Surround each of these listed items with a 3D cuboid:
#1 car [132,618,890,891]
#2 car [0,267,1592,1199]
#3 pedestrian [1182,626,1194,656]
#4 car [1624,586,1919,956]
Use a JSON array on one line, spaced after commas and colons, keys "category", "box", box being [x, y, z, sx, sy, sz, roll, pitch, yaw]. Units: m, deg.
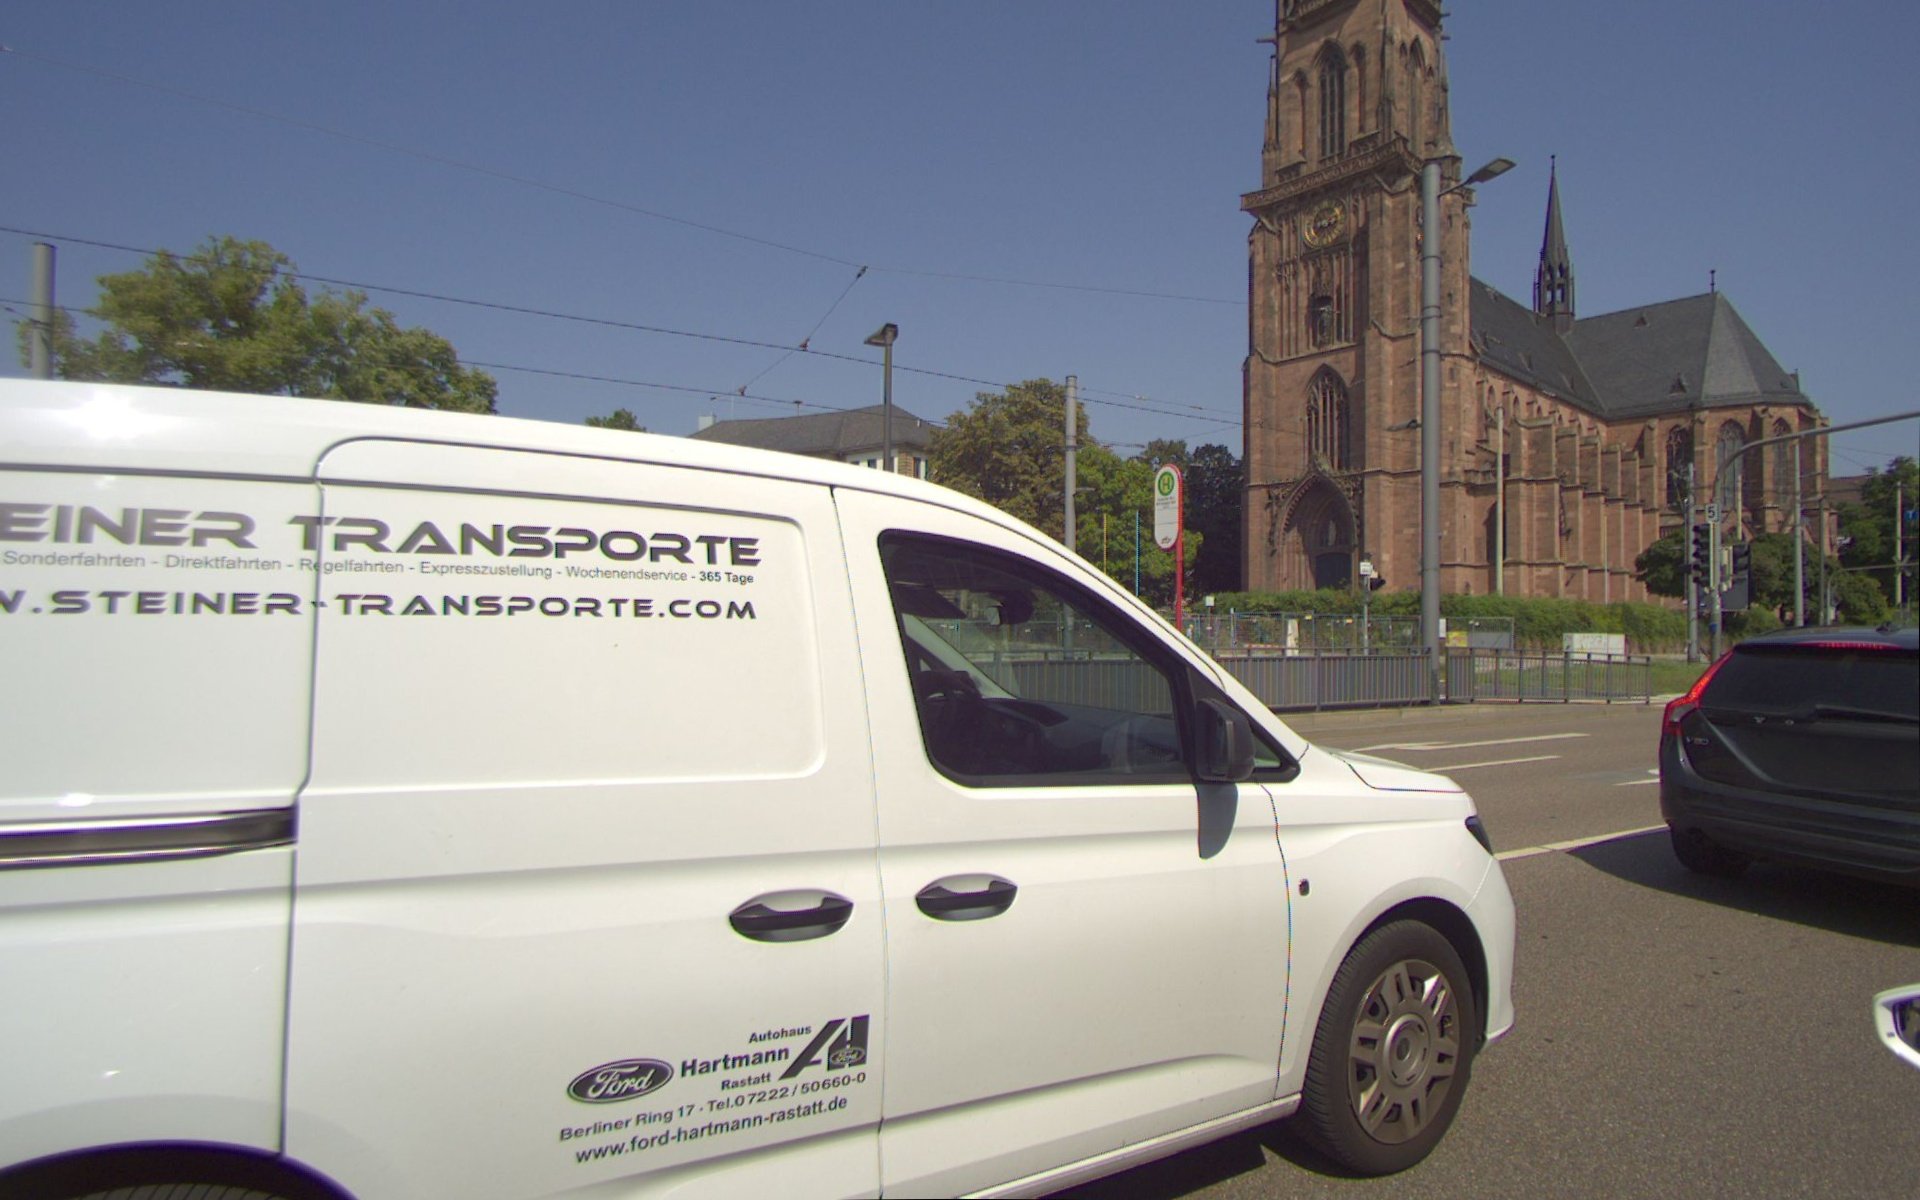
[{"category": "car", "box": [-2.913, 0.897, 7.298, 4.520, 1.454, 1.738, 1, -3, -31]}, {"category": "car", "box": [-0.350, 0.549, 2.705, 4.189, 1.844, 1.739, 1, -1, -30]}, {"category": "pedestrian", "box": [11.997, 2.145, 52.841, 0.533, 1.551, 0.436, 0, -1, 5]}, {"category": "car", "box": [5.922, 0.793, 5.835, 4.257, 1.636, 1.739, 1, 0, -30]}]
